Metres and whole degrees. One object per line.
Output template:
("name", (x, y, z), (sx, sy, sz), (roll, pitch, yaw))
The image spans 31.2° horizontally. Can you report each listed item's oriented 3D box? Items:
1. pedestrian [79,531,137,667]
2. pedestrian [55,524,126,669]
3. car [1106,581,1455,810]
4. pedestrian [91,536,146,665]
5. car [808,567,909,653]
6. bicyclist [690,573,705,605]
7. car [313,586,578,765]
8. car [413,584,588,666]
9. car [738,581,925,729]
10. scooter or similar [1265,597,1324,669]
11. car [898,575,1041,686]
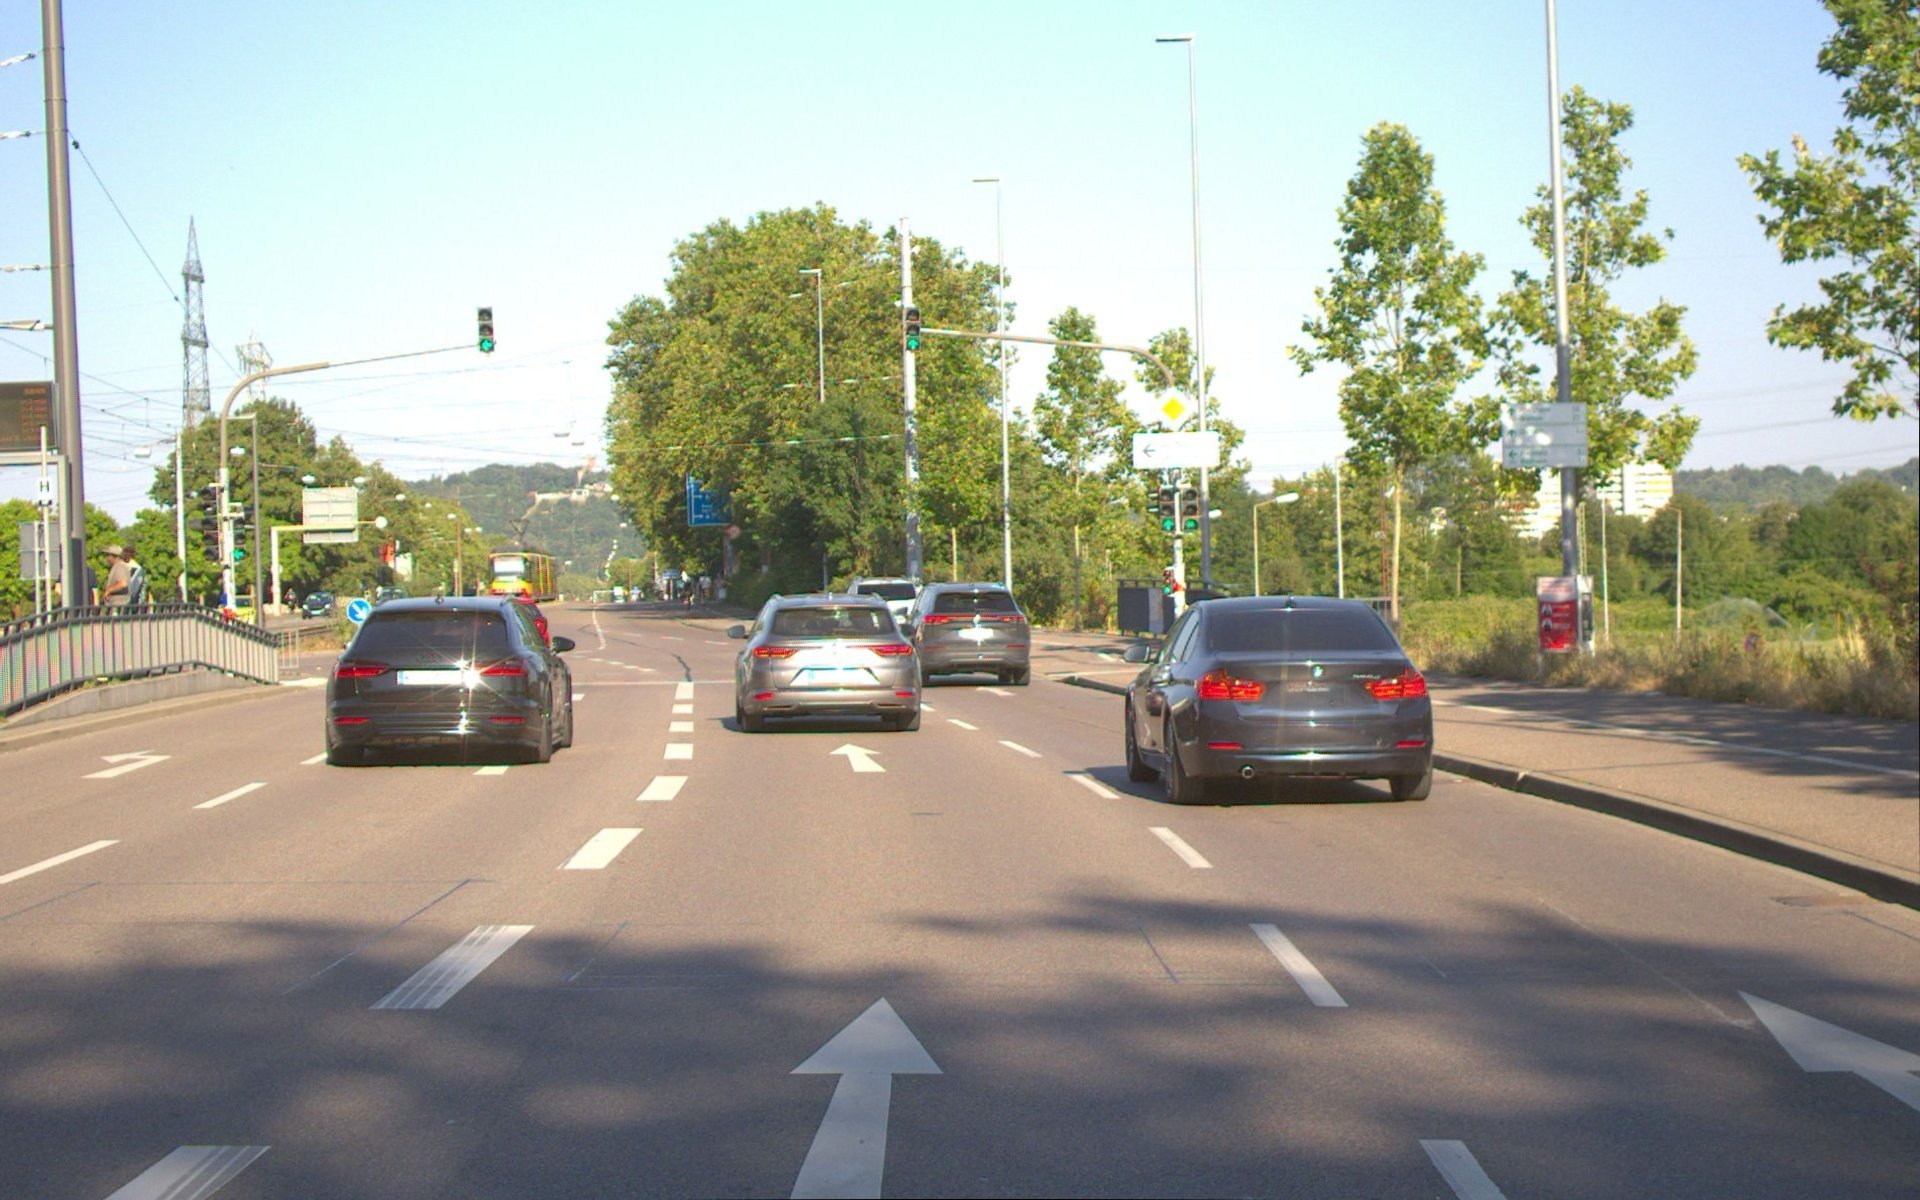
("pedestrian", (-10.757, -0.010, 43.435), (0.533, 1.687, 0.760), (1, 0, -2))
("pedestrian", (-10.802, -0.041, 42.733), (0.706, 1.769, 0.535), (1, 0, 0))
("car", (2.206, 0.614, 24.875), (1.866, 1.462, 4.587), (-1, 1, -3))
("pedestrian", (-10.862, 0.008, 44.373), (0.533, 1.651, 0.751), (0, 0, -2))
("car", (-2.238, 0.199, 74.993), (1.883, 1.789, 4.001), (1, 1, -6))
("bicyclist", (-12.408, -0.505, 162.419), (0.685, 1.503, 0.891), (-1, 1, -5))
("car", (-4.469, 0.621, 30.408), (1.915, 1.453, 4.092), (-1, 0, -3))
("car", (-9.603, 0.531, 71.728), (1.766, 1.455, 3.583), (-4, 0, -44))
("car", (-1.434, 0.540, 36.820), (1.865, 1.462, 4.666), (0, 0, -4))
("scooter or similar", (5.883, 0.575, 60.500), (0.523, 1.226, 1.267), (-2, 0, -18))
("car", (0.102, 0.448, 54.630), (1.844, 1.655, 4.440), (0, 1, -5))
